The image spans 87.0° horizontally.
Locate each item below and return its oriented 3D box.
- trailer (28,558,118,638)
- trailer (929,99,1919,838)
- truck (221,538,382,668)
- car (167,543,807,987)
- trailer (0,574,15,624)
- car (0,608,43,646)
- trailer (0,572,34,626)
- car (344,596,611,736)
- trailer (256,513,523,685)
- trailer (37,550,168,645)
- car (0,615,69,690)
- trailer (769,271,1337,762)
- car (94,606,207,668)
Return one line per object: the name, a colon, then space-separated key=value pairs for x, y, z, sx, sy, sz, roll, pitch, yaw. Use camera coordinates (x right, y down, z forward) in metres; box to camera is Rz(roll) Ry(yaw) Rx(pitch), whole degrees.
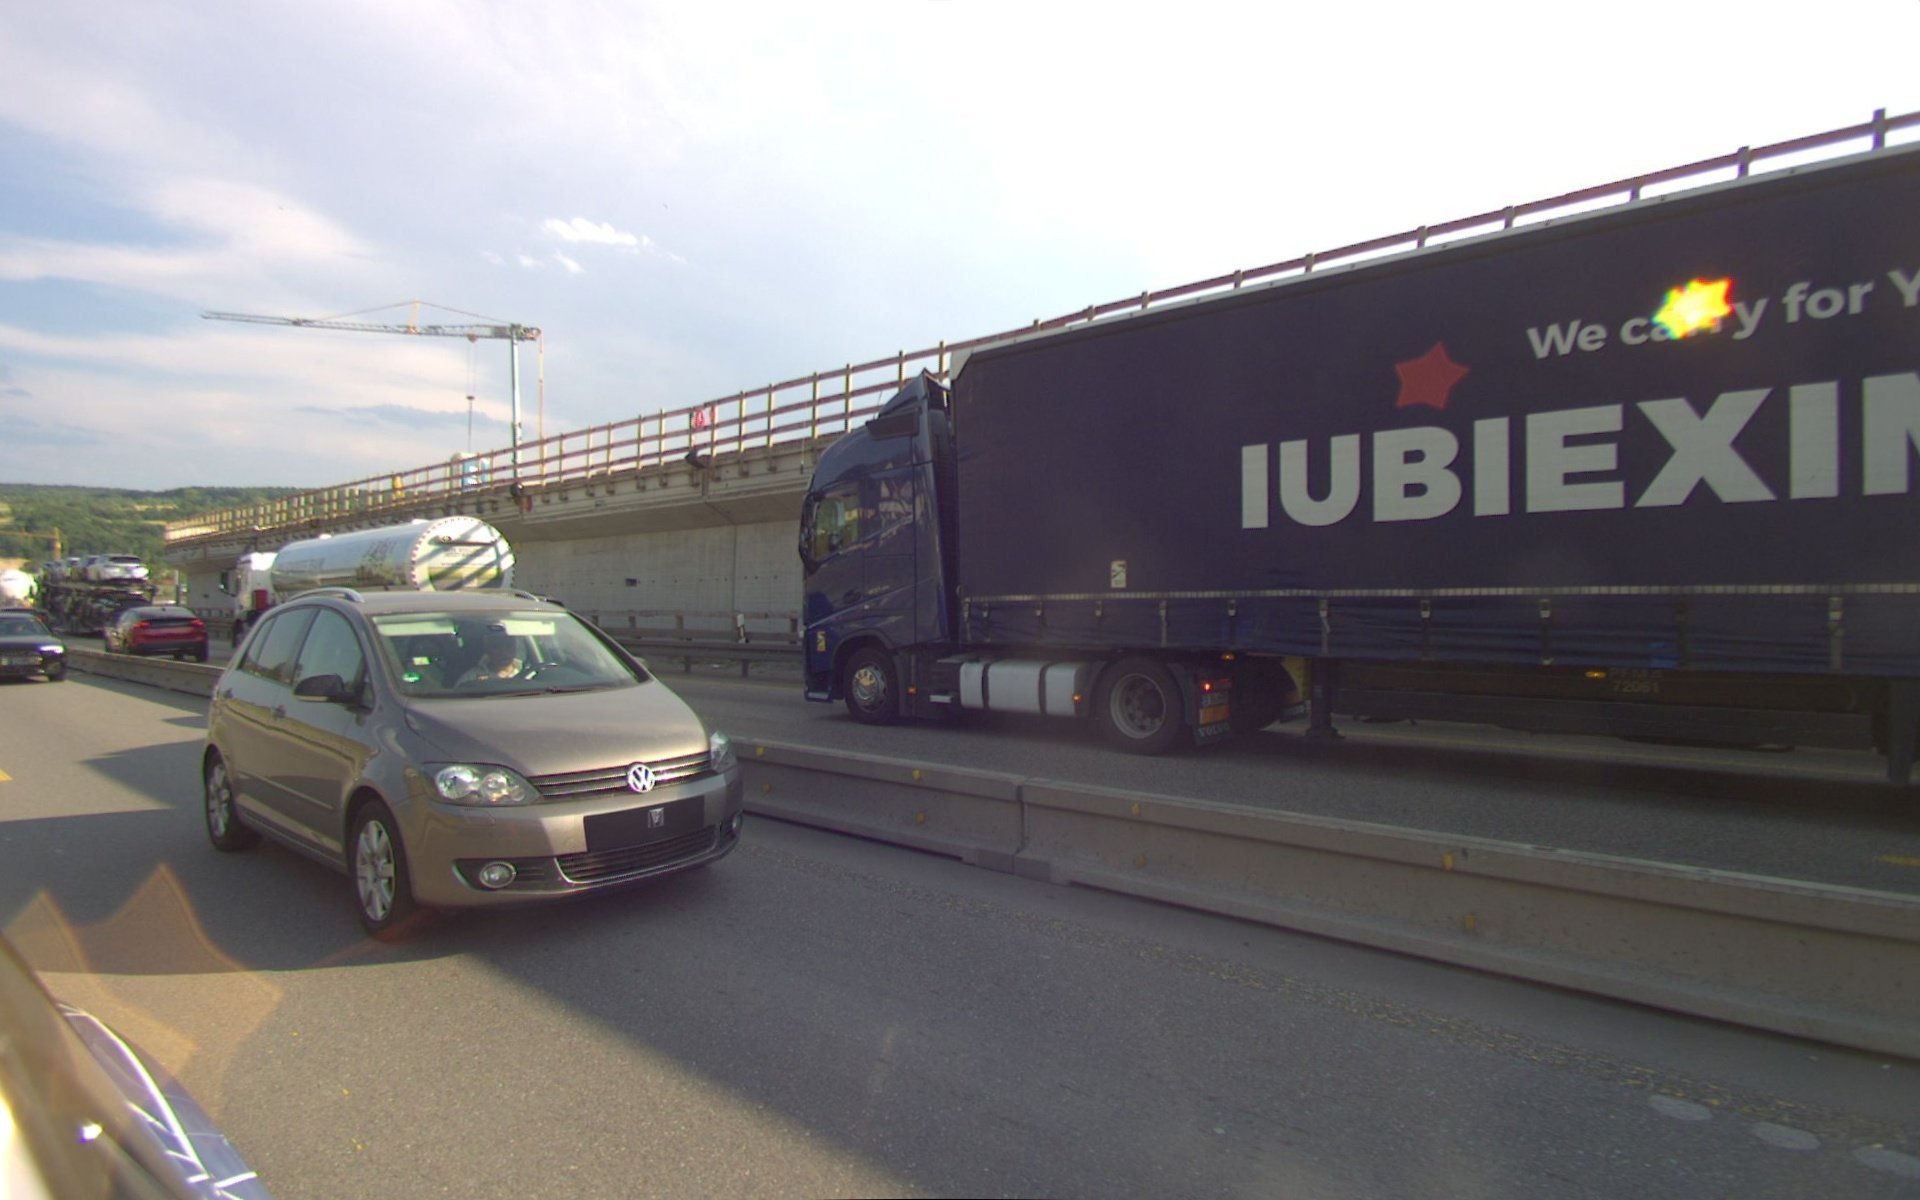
trailer: x=-48.057 y=-0.140 z=54.764 sx=7.205 sy=4.061 sz=2.742 roll=0 pitch=0 yaw=42
trailer: x=5.853 y=-0.742 z=7.168 sx=14.018 sy=4.173 sz=2.736 roll=-2 pitch=-1 yaw=41
truck: x=-19.311 y=0.058 z=29.573 sx=5.528 sy=3.435 sz=2.522 roll=0 pitch=0 yaw=41
car: x=-2.899 y=0.679 z=5.709 sx=4.269 sy=1.601 sz=1.663 roll=-2 pitch=-4 yaw=41
trailer: x=-78.355 y=-0.073 z=81.517 sx=6.426 sy=3.879 sz=2.625 roll=0 pitch=0 yaw=41
car: x=-42.763 y=1.183 z=45.516 sx=4.835 sy=1.563 sz=1.747 roll=0 pitch=1 yaw=42
trailer: x=-73.637 y=-0.064 z=77.395 sx=13.435 sy=3.879 sz=2.625 roll=0 pitch=0 yaw=41
car: x=-6.876 y=0.780 z=14.162 sx=4.686 sy=1.657 sz=1.624 roll=0 pitch=0 yaw=41
trailer: x=-14.710 y=-0.041 z=25.499 sx=10.677 sy=3.553 sz=2.530 roll=0 pitch=0 yaw=42
trailer: x=-42.474 y=-0.128 z=49.810 sx=15.758 sy=4.061 sz=2.742 roll=0 pitch=0 yaw=42
car: x=-20.287 y=1.051 z=21.222 sx=4.347 sy=1.430 sz=1.849 roll=0 pitch=0 yaw=41
trailer: x=0.804 y=-0.666 z=11.612 sx=5.973 sy=4.173 sz=2.736 roll=-2 pitch=-1 yaw=41
car: x=-22.564 y=1.000 z=28.152 sx=4.294 sy=1.569 sz=1.708 roll=-1 pitch=0 yaw=41
